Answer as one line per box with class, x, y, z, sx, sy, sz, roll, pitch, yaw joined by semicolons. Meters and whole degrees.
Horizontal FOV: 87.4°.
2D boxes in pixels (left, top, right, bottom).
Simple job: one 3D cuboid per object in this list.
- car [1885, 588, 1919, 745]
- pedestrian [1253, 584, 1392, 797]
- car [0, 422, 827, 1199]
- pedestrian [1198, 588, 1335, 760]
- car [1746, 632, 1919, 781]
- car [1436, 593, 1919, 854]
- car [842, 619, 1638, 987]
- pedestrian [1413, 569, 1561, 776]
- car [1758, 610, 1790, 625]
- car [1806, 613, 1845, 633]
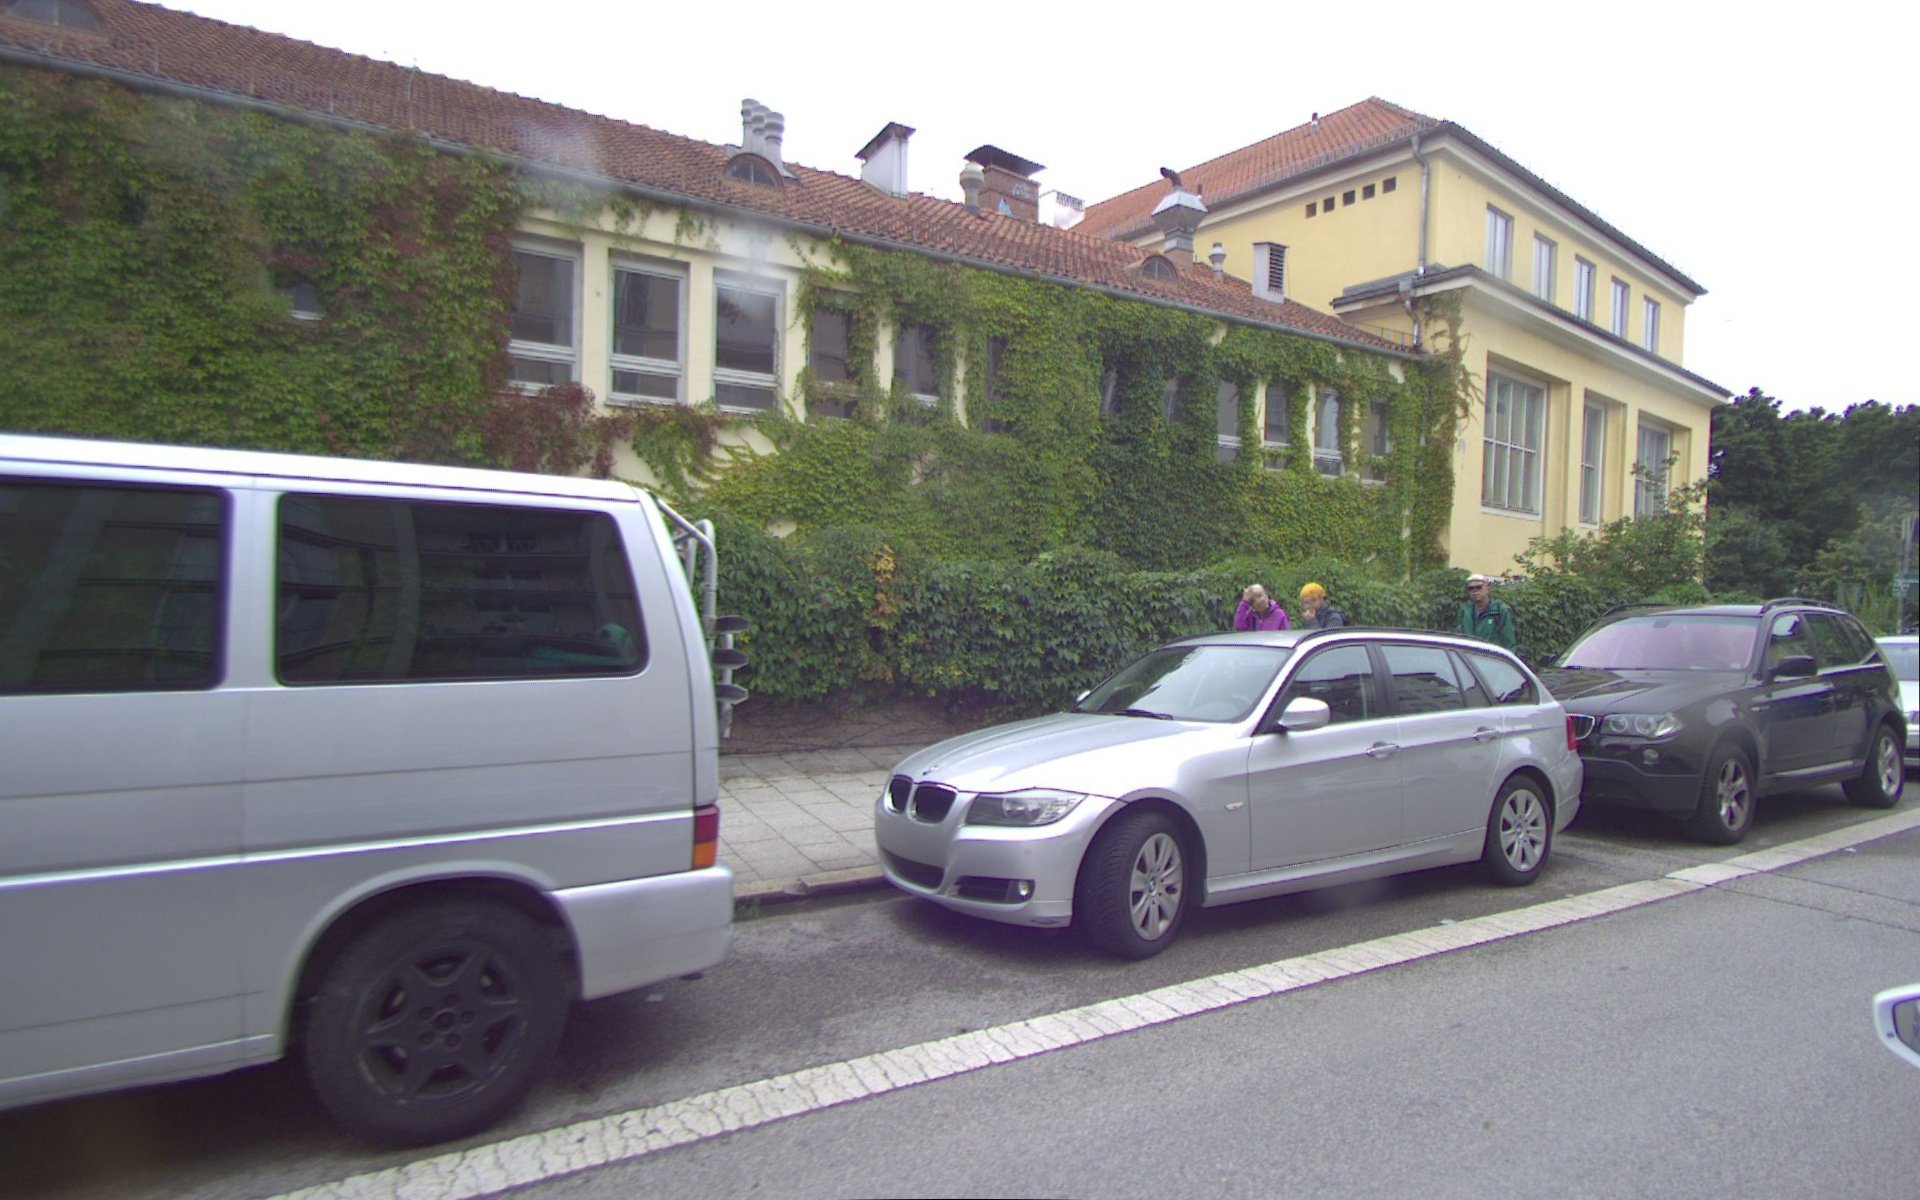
car;14.532;0.863;13.711;4.577;2.005;1.912;1;-2;-36
pedestrian;3.030;0.711;8.415;0.862;1.674;0.679;1;1;-31
car;-2.974;0.558;2.813;4.823;1.822;1.885;1;-3;-30
pedestrian;2.865;0.655;9.426;0.861;1.514;0.839;1;1;-29
car;10.359;1.037;10.835;3.957;1.383;1.698;1;-3;-32
car;6.003;0.833;8.170;4.440;1.627;1.694;1;-2;-31
car;1.720;0.870;5.743;4.438;1.395;1.796;1;-4;-30
pedestrian;4.819;0.625;9.215;0.861;1.778;0.839;1;1;-29
car;94.965;2.033;117.219;1.963;1.622;4.249;2;1;26
car;81.351;2.166;94.433;1.765;1.702;3.995;2;1;26
